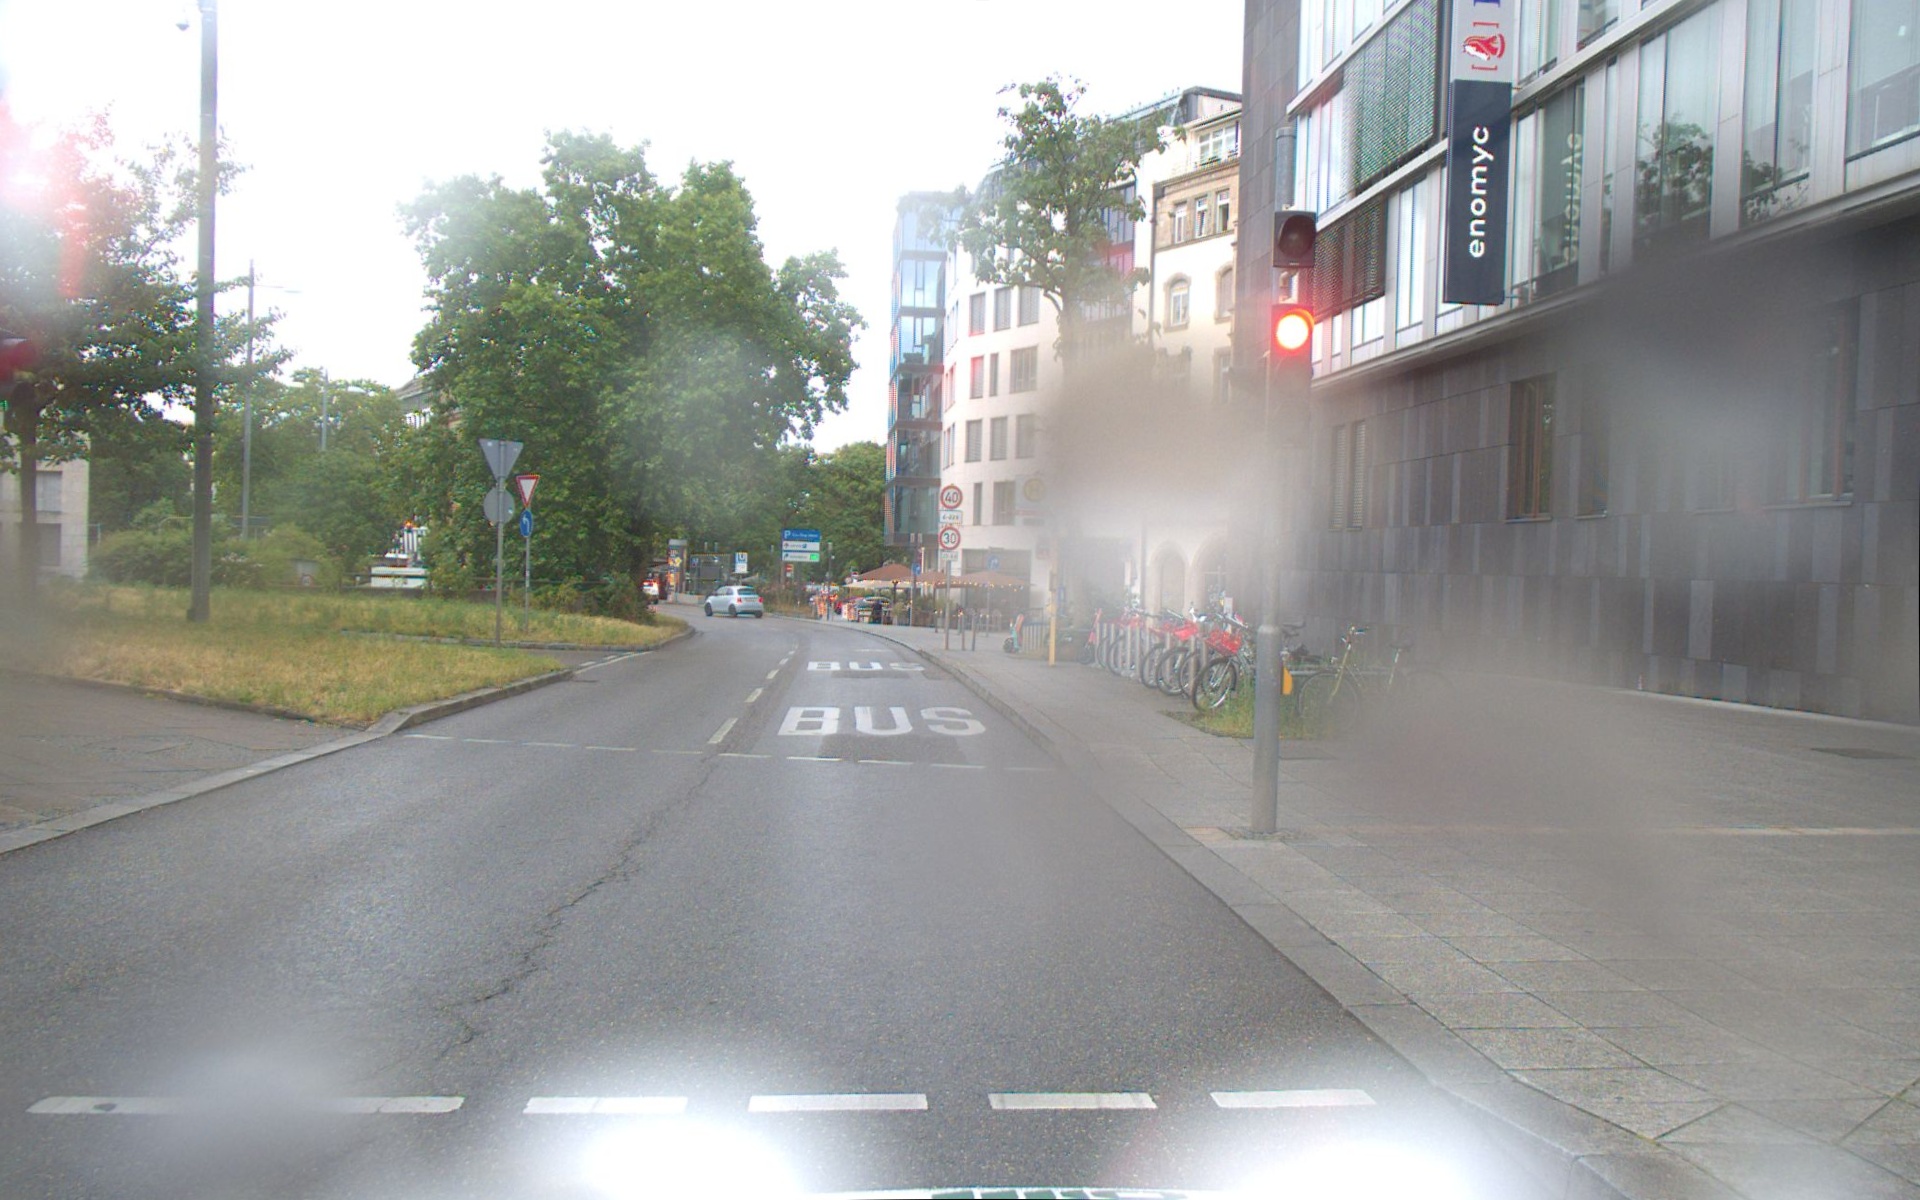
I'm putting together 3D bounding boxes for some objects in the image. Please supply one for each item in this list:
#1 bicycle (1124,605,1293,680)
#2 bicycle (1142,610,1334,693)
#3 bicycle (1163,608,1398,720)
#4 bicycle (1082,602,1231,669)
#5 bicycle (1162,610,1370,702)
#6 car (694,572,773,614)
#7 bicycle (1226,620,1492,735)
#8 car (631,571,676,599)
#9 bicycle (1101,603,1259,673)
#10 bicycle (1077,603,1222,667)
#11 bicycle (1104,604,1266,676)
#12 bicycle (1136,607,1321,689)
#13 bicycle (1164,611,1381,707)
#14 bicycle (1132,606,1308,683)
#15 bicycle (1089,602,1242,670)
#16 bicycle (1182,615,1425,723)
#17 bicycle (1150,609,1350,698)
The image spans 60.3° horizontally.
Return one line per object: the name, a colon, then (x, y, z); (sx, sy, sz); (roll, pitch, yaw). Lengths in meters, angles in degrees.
bicycle: (3.839, 0.650, 25.627); (2.486, 1.106, 0.677); (1, 0, -6)
bicycle: (3.777, 0.692, 22.543); (2.486, 1.078, 0.677); (1, 0, -6)
bicycle: (3.630, 0.722, 18.783); (2.487, 1.106, 0.677); (3, 0, -6)
bicycle: (3.422, 0.614, 28.849); (2.486, 1.106, 0.677); (1, 0, -6)
bicycle: (3.852, 0.702, 20.867); (2.486, 1.106, 0.677); (1, 0, -6)
car: (-11.273, -0.364, 82.073); (1.981, 1.675, 3.944); (6, 0, -40)
bicycle: (3.962, 0.766, 16.507); (2.487, 1.075, 0.677); (1, 0, -6)
car: (-20.299, -0.991, 109.407); (2.148, 1.730, 3.974); (2, 0, -22)
bicycle: (3.614, 0.623, 27.216); (2.486, 1.106, 0.677); (1, 0, -6)
bicycle: (3.376, 0.620, 29.570); (2.486, 1.106, 0.627); (1, 0, -6)
bicycle: (3.591, 0.641, 26.463); (2.486, 1.106, 0.677); (1, 0, -6)
bicycle: (3.792, 0.674, 23.452); (2.486, 1.106, 0.677); (1, 0, -6)
bicycle: (3.768, 0.703, 20.011); (2.486, 1.106, 0.677); (1, 0, -6)
bicycle: (3.865, 0.656, 24.650); (2.486, 1.106, 0.677); (1, 0, -6)
bicycle: (3.479, 0.606, 28.102); (2.486, 1.106, 0.677); (1, 0, -6)
bicycle: (3.717, 0.746, 17.981); (2.487, 1.106, 0.677); (1, 0, -6)
bicycle: (3.784, 0.693, 21.676); (2.486, 1.106, 0.677); (1, 0, -6)
